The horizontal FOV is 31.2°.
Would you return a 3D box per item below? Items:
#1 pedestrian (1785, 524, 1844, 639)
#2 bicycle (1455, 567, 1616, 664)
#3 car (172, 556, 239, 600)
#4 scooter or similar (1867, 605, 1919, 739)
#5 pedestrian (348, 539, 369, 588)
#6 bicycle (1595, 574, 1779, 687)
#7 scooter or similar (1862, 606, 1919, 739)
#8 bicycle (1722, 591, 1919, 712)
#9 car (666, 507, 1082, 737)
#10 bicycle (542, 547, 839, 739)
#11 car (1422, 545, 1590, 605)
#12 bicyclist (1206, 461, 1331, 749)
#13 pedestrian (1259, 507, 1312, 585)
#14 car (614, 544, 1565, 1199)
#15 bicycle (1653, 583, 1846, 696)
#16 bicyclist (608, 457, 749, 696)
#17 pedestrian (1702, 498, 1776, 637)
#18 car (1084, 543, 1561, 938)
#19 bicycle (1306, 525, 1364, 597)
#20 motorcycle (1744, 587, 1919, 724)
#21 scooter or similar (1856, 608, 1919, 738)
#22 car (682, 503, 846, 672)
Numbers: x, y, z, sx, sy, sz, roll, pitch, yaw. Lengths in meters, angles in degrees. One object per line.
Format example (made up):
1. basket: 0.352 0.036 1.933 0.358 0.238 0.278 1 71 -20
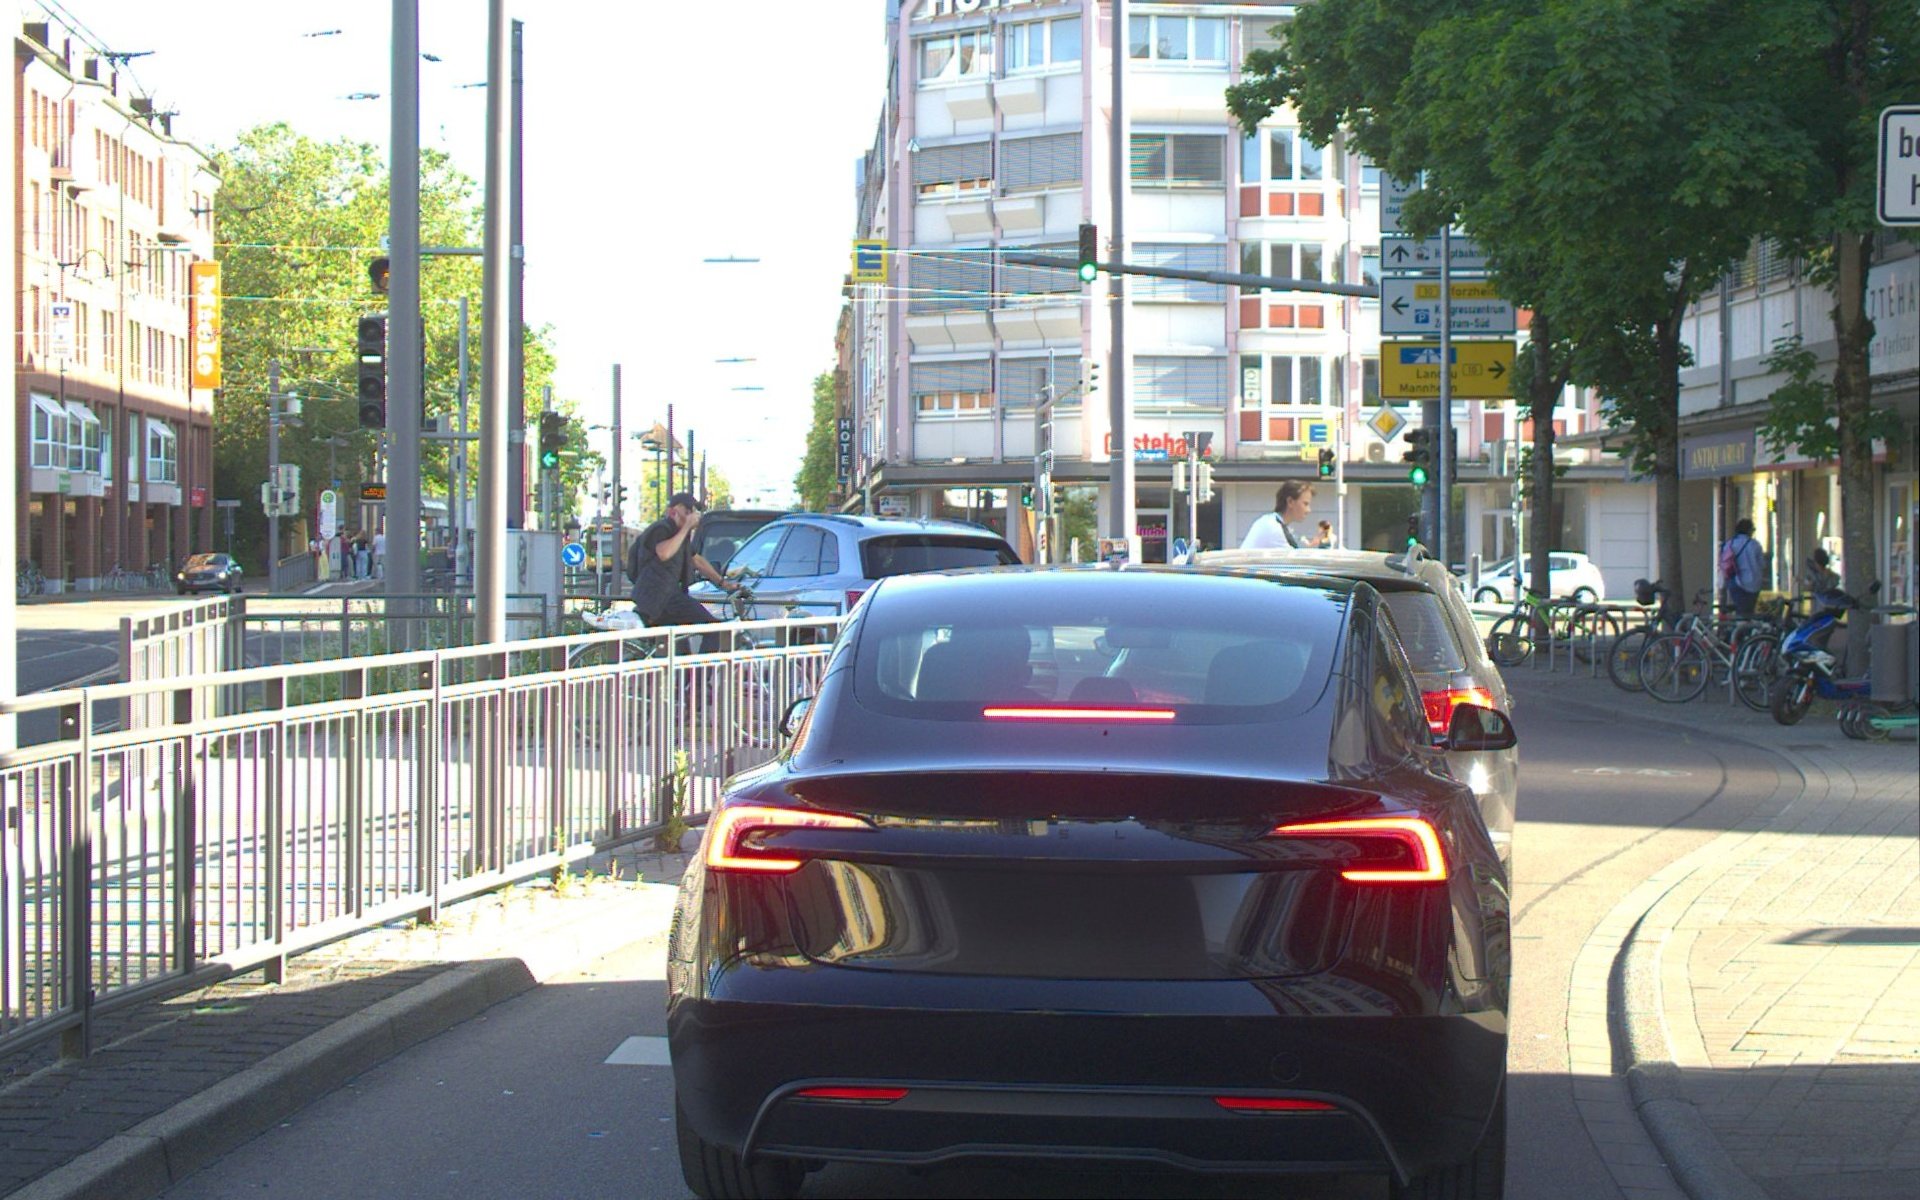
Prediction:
1. pedestrian: 10.647 -0.234 42.853 0.645 1.417 0.621 1 0 10
2. bicycle: 7.106 0.192 42.497 1.890 1.152 0.480 -1 0 0
3. car: -25.943 -0.752 118.243 1.817 1.449 3.978 -1 1 -7
4. scooter or similar: 7.610 0.561 26.909 0.964 1.039 0.160 0 1 3
5. pedestrian: -19.095 -1.158 109.139 0.583 1.525 0.638 1 0 -18
6. bicycle: 7.478 0.311 35.377 1.809 1.147 0.435 0 0 -4
7. scooter or similar: 7.616 0.571 27.108 0.956 1.035 0.160 0 1 3
8. bicycle: 7.910 0.466 31.356 1.849 1.052 0.399 -1 1 -11
9. car: -0.728 0.136 26.328 1.839 1.629 3.486 1 1 -27
10. bicycle: -1.743 0.274 22.345 1.820 1.207 0.642 0 1 -31
11. car: 13.723 -0.616 86.492 3.840 1.427 1.804 0 -1 -5
12. bicyclist: 1.768 0.026 19.776 0.681 1.625 0.578 1 0 4
13. pedestrian: 6.697 -1.111 70.703 0.779 1.571 0.868 1 2 -15
14. car: 0.341 0.619 8.513 1.790 1.446 3.939 1 2 3
15. bicycle: 7.650 0.377 33.342 1.767 1.053 0.458 1 0 5
16. bicyclist: -1.828 -0.152 22.289 0.681 1.518 0.635 1 0 -31
17. pedestrian: 9.755 -0.413 43.080 0.843 1.715 0.879 1 0 11
18. car: 1.525 0.487 15.194 1.765 1.439 4.528 1 1 4
19. bicycle: 7.718 -0.811 70.805 0.582 1.458 1.686 0 1 -16
20. motorcycle: 7.624 0.470 29.217 1.787 1.126 0.504 1 0 -3
21. scooter or similar: 7.621 0.579 27.308 0.964 1.023 0.160 0 1 3
22. car: -1.992 -0.140 35.307 1.572 1.612 3.784 1 1 -3
